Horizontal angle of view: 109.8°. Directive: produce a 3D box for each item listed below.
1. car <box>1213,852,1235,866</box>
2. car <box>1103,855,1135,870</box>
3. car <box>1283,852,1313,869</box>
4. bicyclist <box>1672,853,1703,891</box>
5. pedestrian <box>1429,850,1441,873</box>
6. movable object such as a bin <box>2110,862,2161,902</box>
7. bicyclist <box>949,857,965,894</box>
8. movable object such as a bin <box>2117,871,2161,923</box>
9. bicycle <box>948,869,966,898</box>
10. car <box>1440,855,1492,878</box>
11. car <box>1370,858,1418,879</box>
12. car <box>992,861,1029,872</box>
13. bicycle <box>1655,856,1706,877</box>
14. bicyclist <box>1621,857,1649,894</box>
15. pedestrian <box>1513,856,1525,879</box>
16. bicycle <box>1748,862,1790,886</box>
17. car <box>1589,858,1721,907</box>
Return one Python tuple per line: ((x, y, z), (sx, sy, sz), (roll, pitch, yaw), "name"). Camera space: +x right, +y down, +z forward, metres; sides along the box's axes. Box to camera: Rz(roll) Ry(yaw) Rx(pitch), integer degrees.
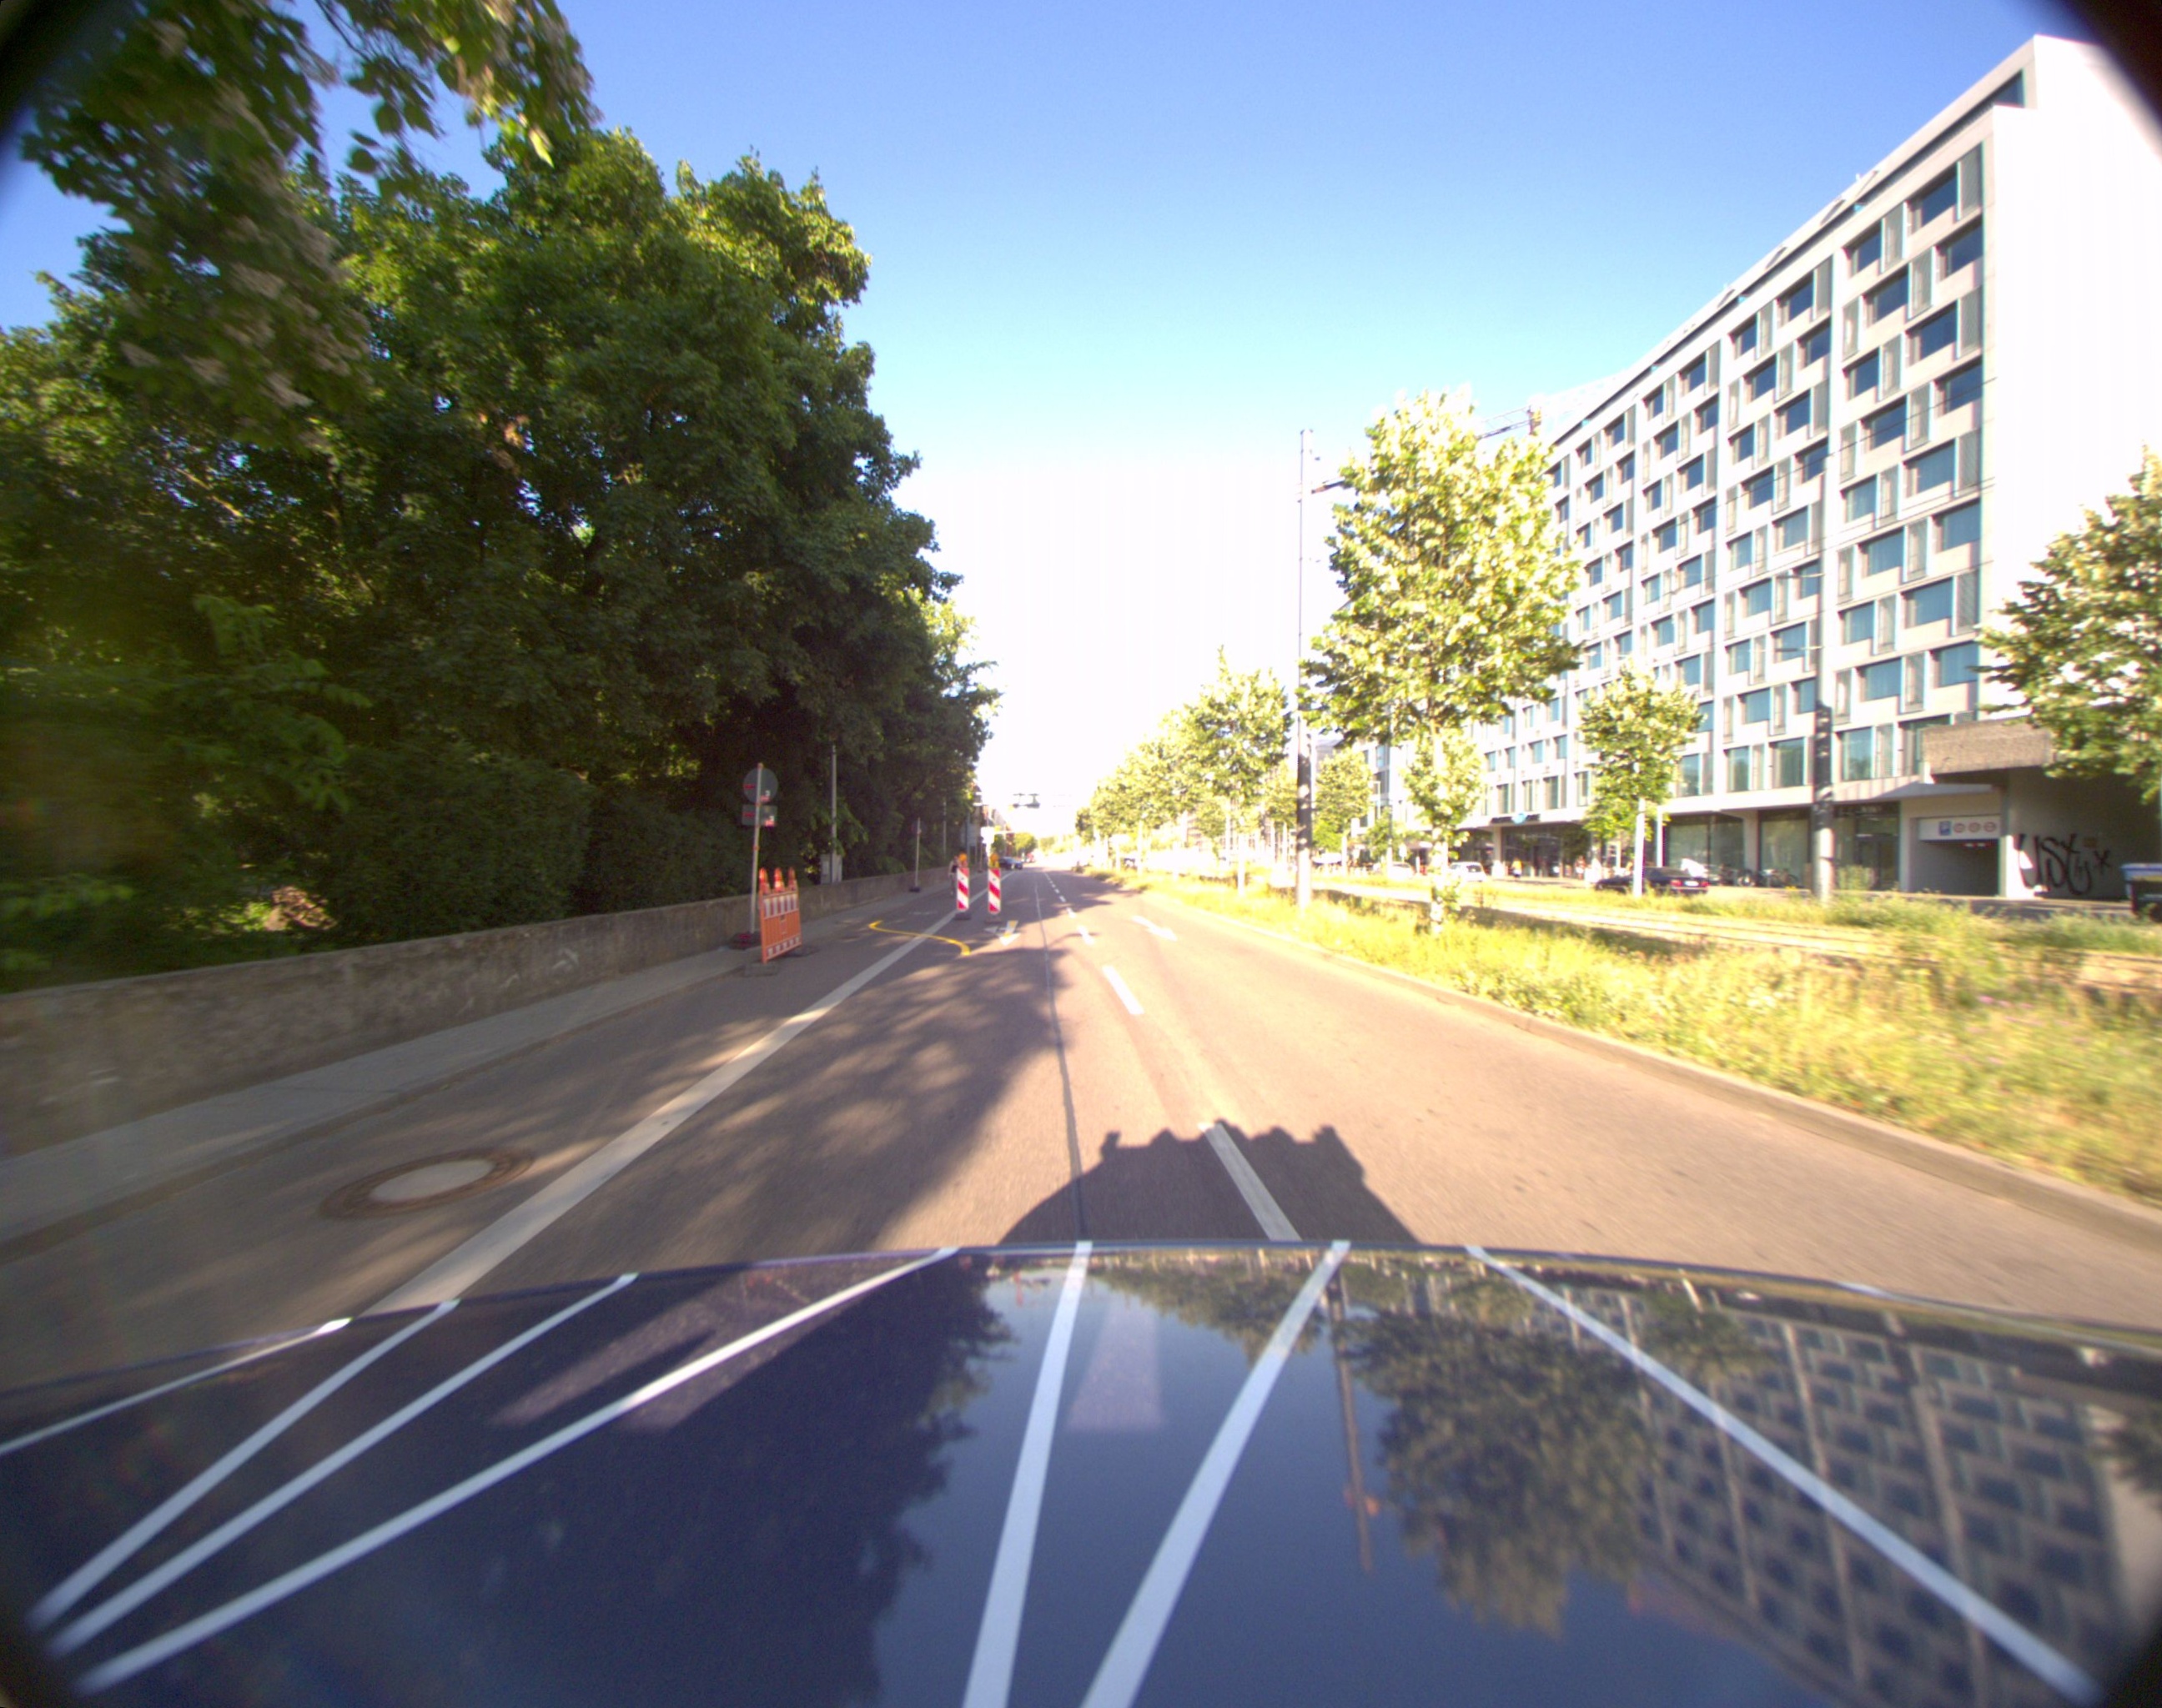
((18.539, 0.596, 98.790), (1.875, 1.742, 3.791), (-2, 1, -3), "car")
((4.730, 1.053, 95.639), (3.791, 1.742, 1.875), (-2, 1, -4), "car")
((21.705, 0.657, 76.124), (1.875, 1.582, 3.481), (-2, 1, -3), "car")
((26.415, 0.765, 33.099), (0.539, 1.647, 0.919), (0, 1, -5), "bicyclist")
((30.994, 0.659, 66.491), (0.622, 2.002, 0.725), (0, 1, -3), "pedestrian")
((36.813, 0.945, 26.066), (1.390, 1.326, 1.233), (0, 0, -5), "movable object such as a bin")
((-4.697, 0.805, 28.857), (0.516, 1.399, 0.805), (0, 1, -4), "bicyclist")
((29.314, 1.161, 20.416), (1.390, 1.363, 1.171), (0, 0, -5), "movable object such as a bin")
((-4.699, 1.114, 28.893), (0.506, 1.018, 1.505), (0, 0, -3), "bicycle")
((27.508, 0.880, 54.433), (1.875, 1.458, 3.388), (-2, 1, -3), "car")
((22.490, 1.001, 54.724), (1.614, 1.370, 3.877), (-2, 1, -3), "car")
((-8.520, 1.503, 91.605), (3.990, 1.346, 2.003), (0, 0, 22), "car")
((26.370, 0.541, 33.444), (0.437, 0.857, 2.102), (0, 0, -5), "bicycle")
((25.271, 0.986, 34.665), (0.539, 1.647, 0.919), (0, 1, -5), "bicyclist")
((31.195, 0.986, 54.102), (0.479, 1.626, 0.597), (0, 1, -3), "pedestrian")
((35.881, 1.019, 39.659), (0.395, 1.223, 1.718), (0, 0, -13), "bicycle")
((23.363, 1.096, 31.167), (1.875, 1.692, 4.486), (-2, 1, -3), "car")
